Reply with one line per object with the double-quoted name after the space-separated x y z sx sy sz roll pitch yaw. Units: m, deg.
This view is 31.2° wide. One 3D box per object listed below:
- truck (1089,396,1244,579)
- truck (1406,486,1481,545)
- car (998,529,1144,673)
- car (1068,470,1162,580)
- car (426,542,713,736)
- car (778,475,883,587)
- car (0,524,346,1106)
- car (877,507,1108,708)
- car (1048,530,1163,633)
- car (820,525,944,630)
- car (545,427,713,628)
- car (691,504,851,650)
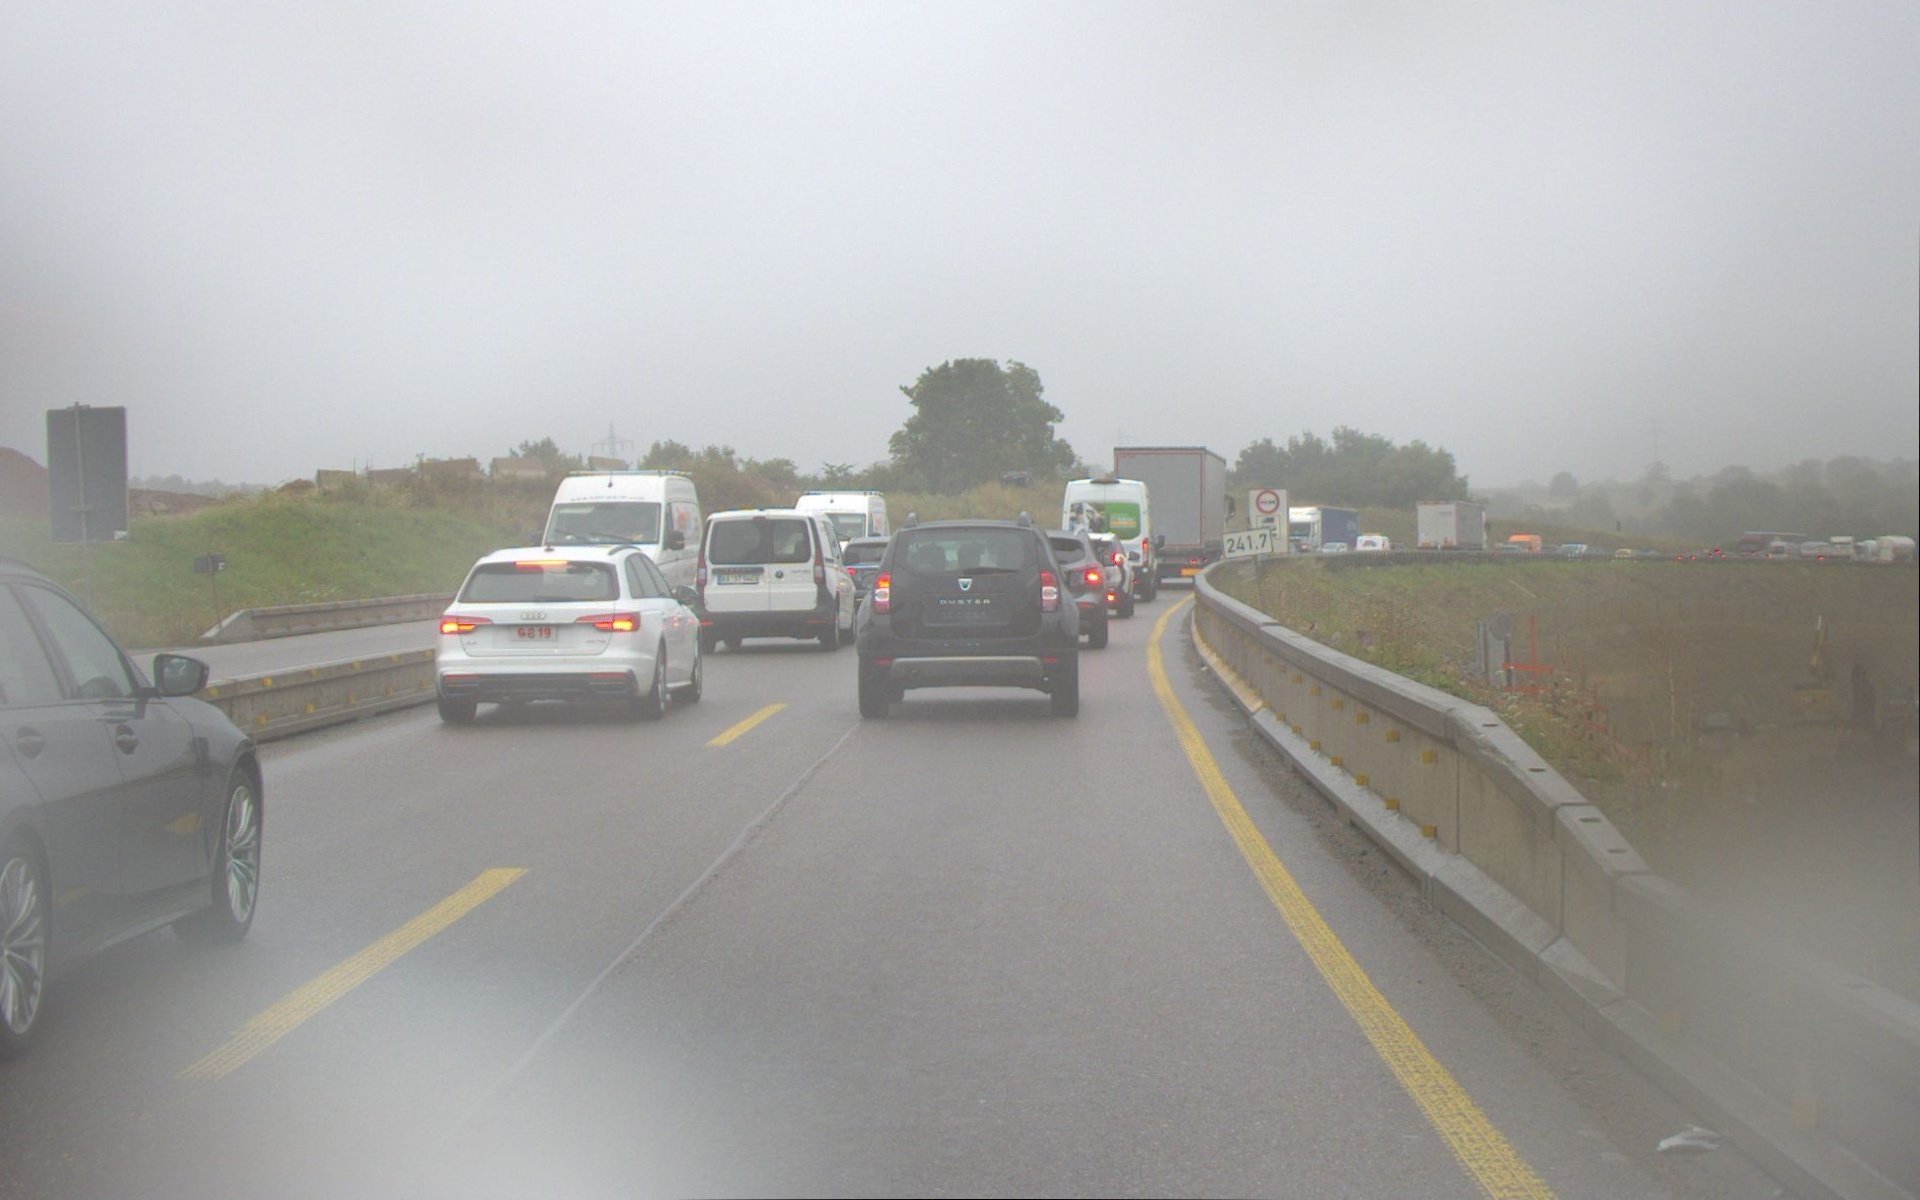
6.167 -3.173 100.658 3.545 5.060 10.438 1 0 9 "truck"
31.296 -5.462 222.234 3.475 3.702 8.411 0 1 17 "truck"
1.520 -0.001 45.666 1.826 1.809 4.000 1 0 3 "car"
3.564 -1.686 78.614 1.827 2.429 4.157 1 0 7 "car"
-3.195 0.294 28.843 1.826 1.494 4.000 1 0 2 "car"
-3.034 -1.657 81.619 2.024 2.540 5.958 -1 1 2 "car"
-3.426 0.540 11.319 1.735 1.457 5.630 0 3 1 "car"
0.290 0.049 29.435 1.826 1.585 4.000 1 0 1 "car"
2.685 -0.333 62.899 1.827 1.809 3.999 1 0 6 "car"
-1.359 -0.400 61.273 1.826 1.809 3.999 1 0 4 "car"
-5.207 -1.158 54.786 1.993 3.003 5.780 1 1 1 "car"
-2.429 -0.304 45.027 1.826 1.809 4.000 1 0 1 "car"
